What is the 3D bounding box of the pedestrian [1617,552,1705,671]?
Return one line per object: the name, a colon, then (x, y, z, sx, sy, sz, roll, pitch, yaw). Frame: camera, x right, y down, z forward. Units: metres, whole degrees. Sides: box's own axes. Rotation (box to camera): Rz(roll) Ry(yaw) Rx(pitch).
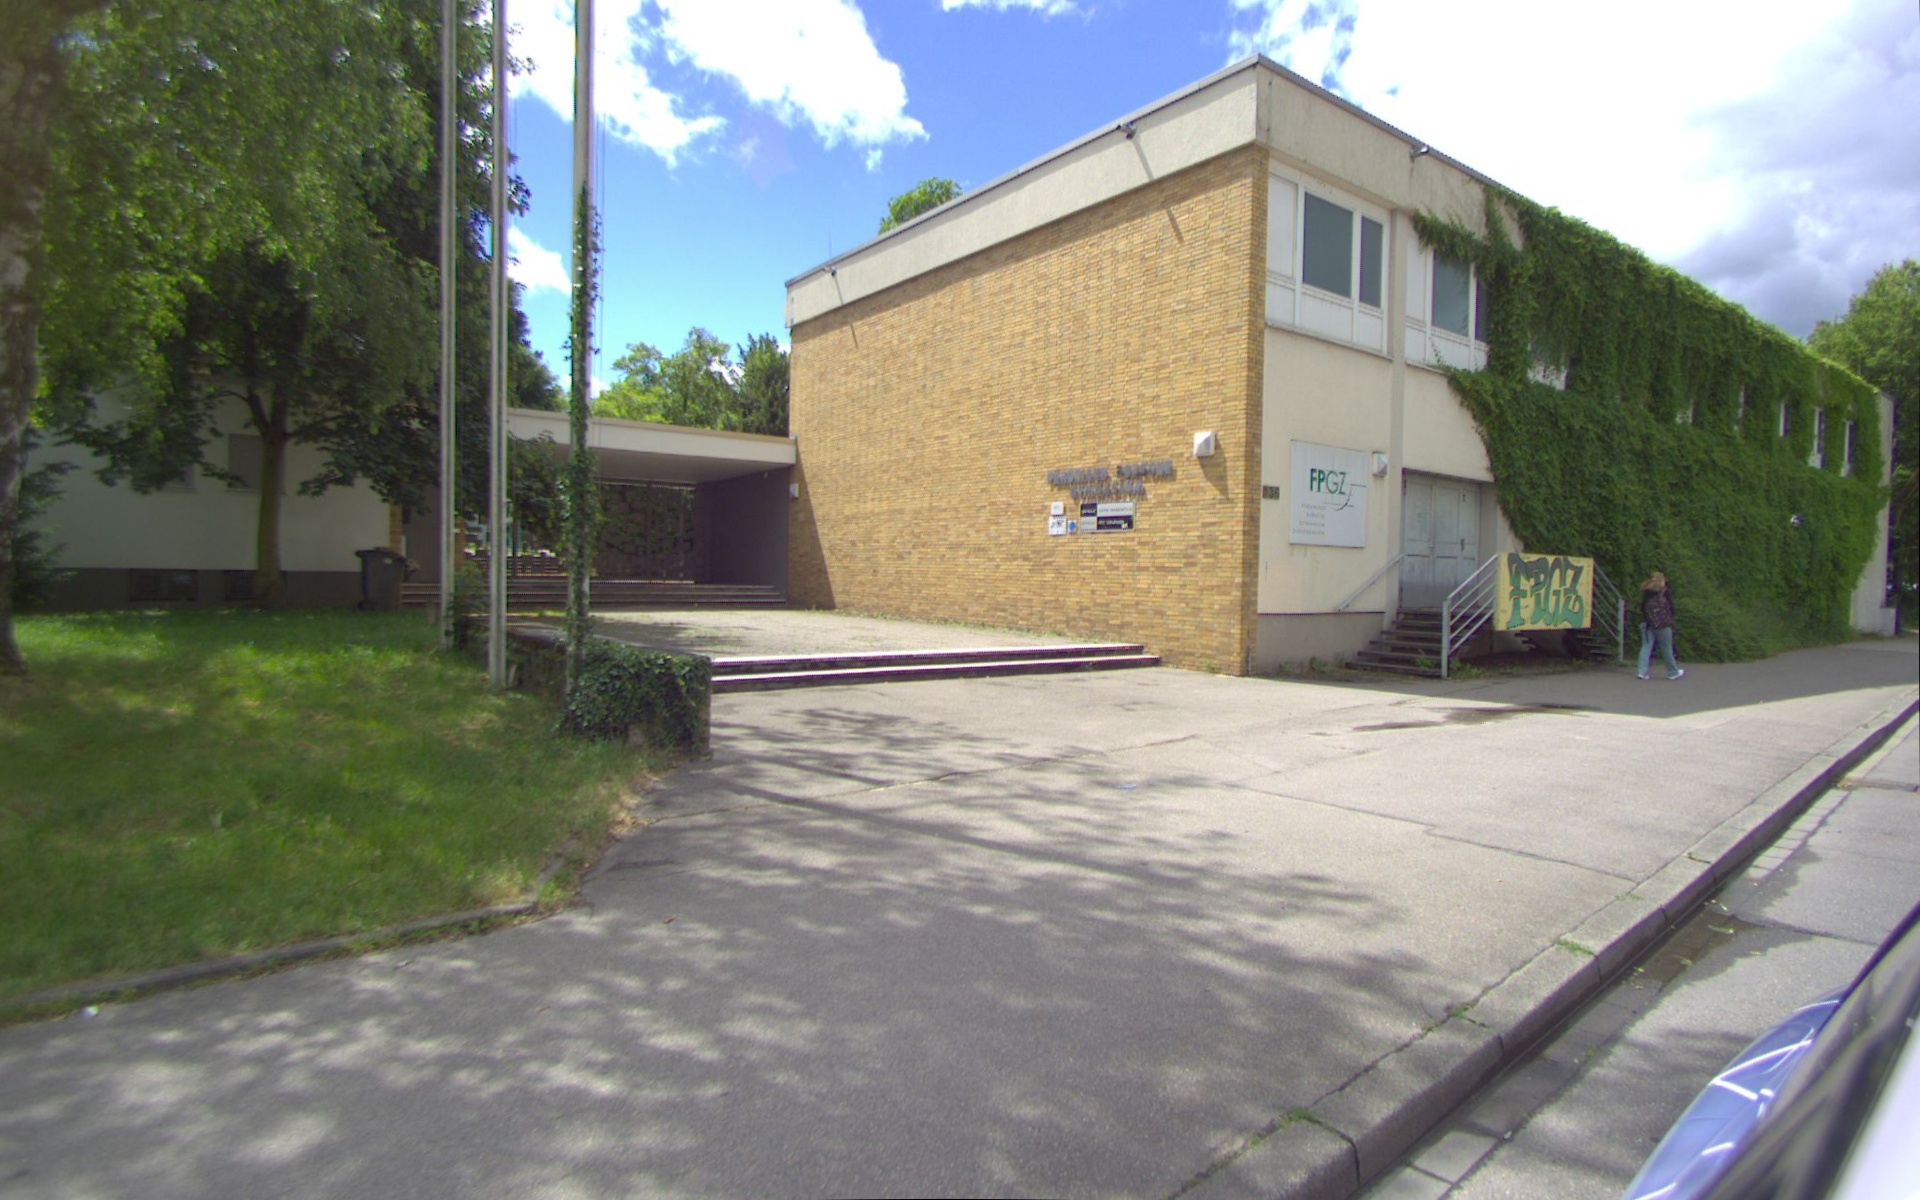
pedestrian: (11.074, 0.155, 15.998, 0.800, 1.792, 0.813, 0, 4, -32)
